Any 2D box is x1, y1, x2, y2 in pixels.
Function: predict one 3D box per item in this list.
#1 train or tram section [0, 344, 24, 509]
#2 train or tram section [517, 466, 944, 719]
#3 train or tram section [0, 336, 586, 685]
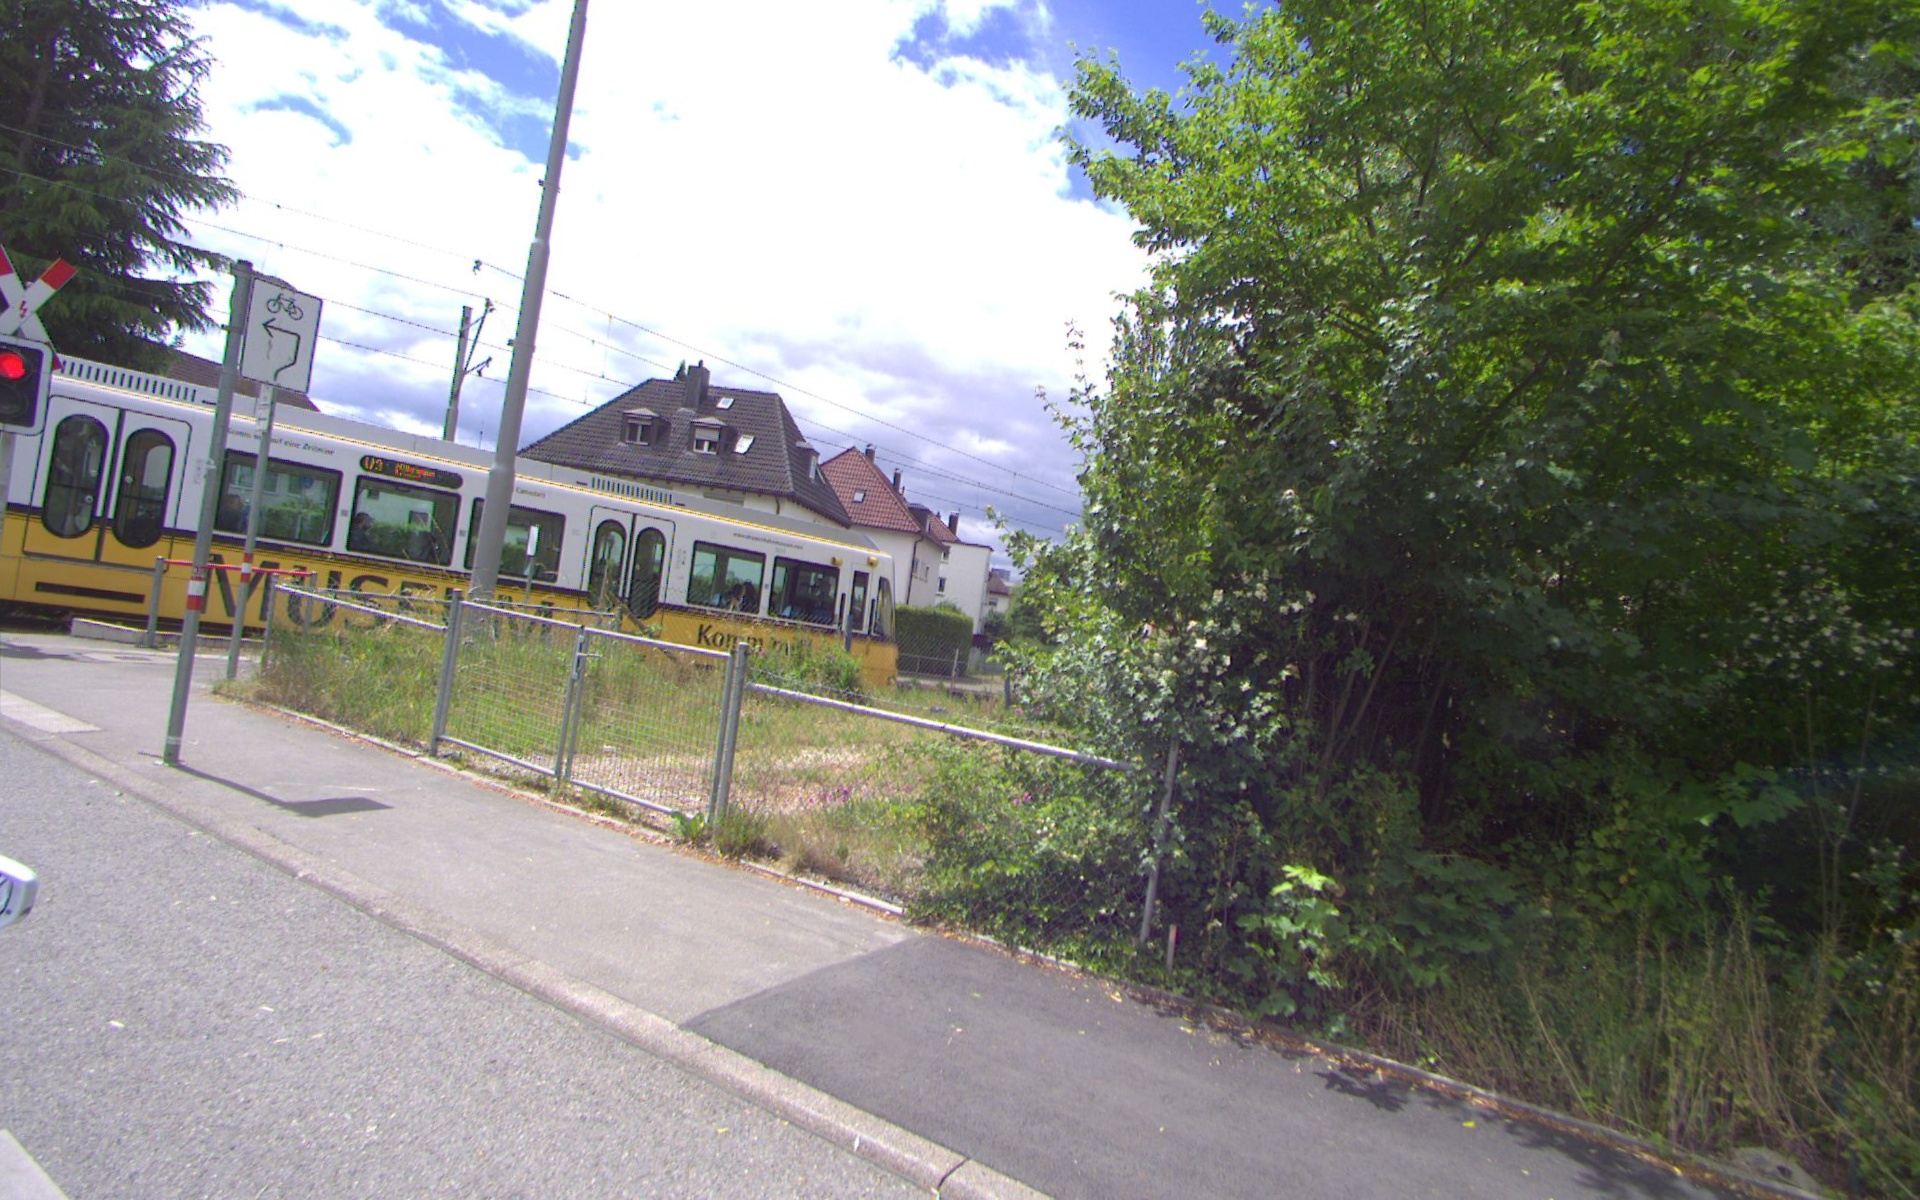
[{"bbox_3d":[-16.601,-2.221,11.700,7.655,3.762,2.842,10,-3,-36],"label":"train or tram section"},{"bbox_3d":[-4.468,0.069,20.641,7.655,3.762,2.842,10,-3,-36],"label":"train or tram section"},{"bbox_3d":[-10.542,-1.048,16.164,7.655,3.762,2.842,10,-3,-36],"label":"train or tram section"}]
